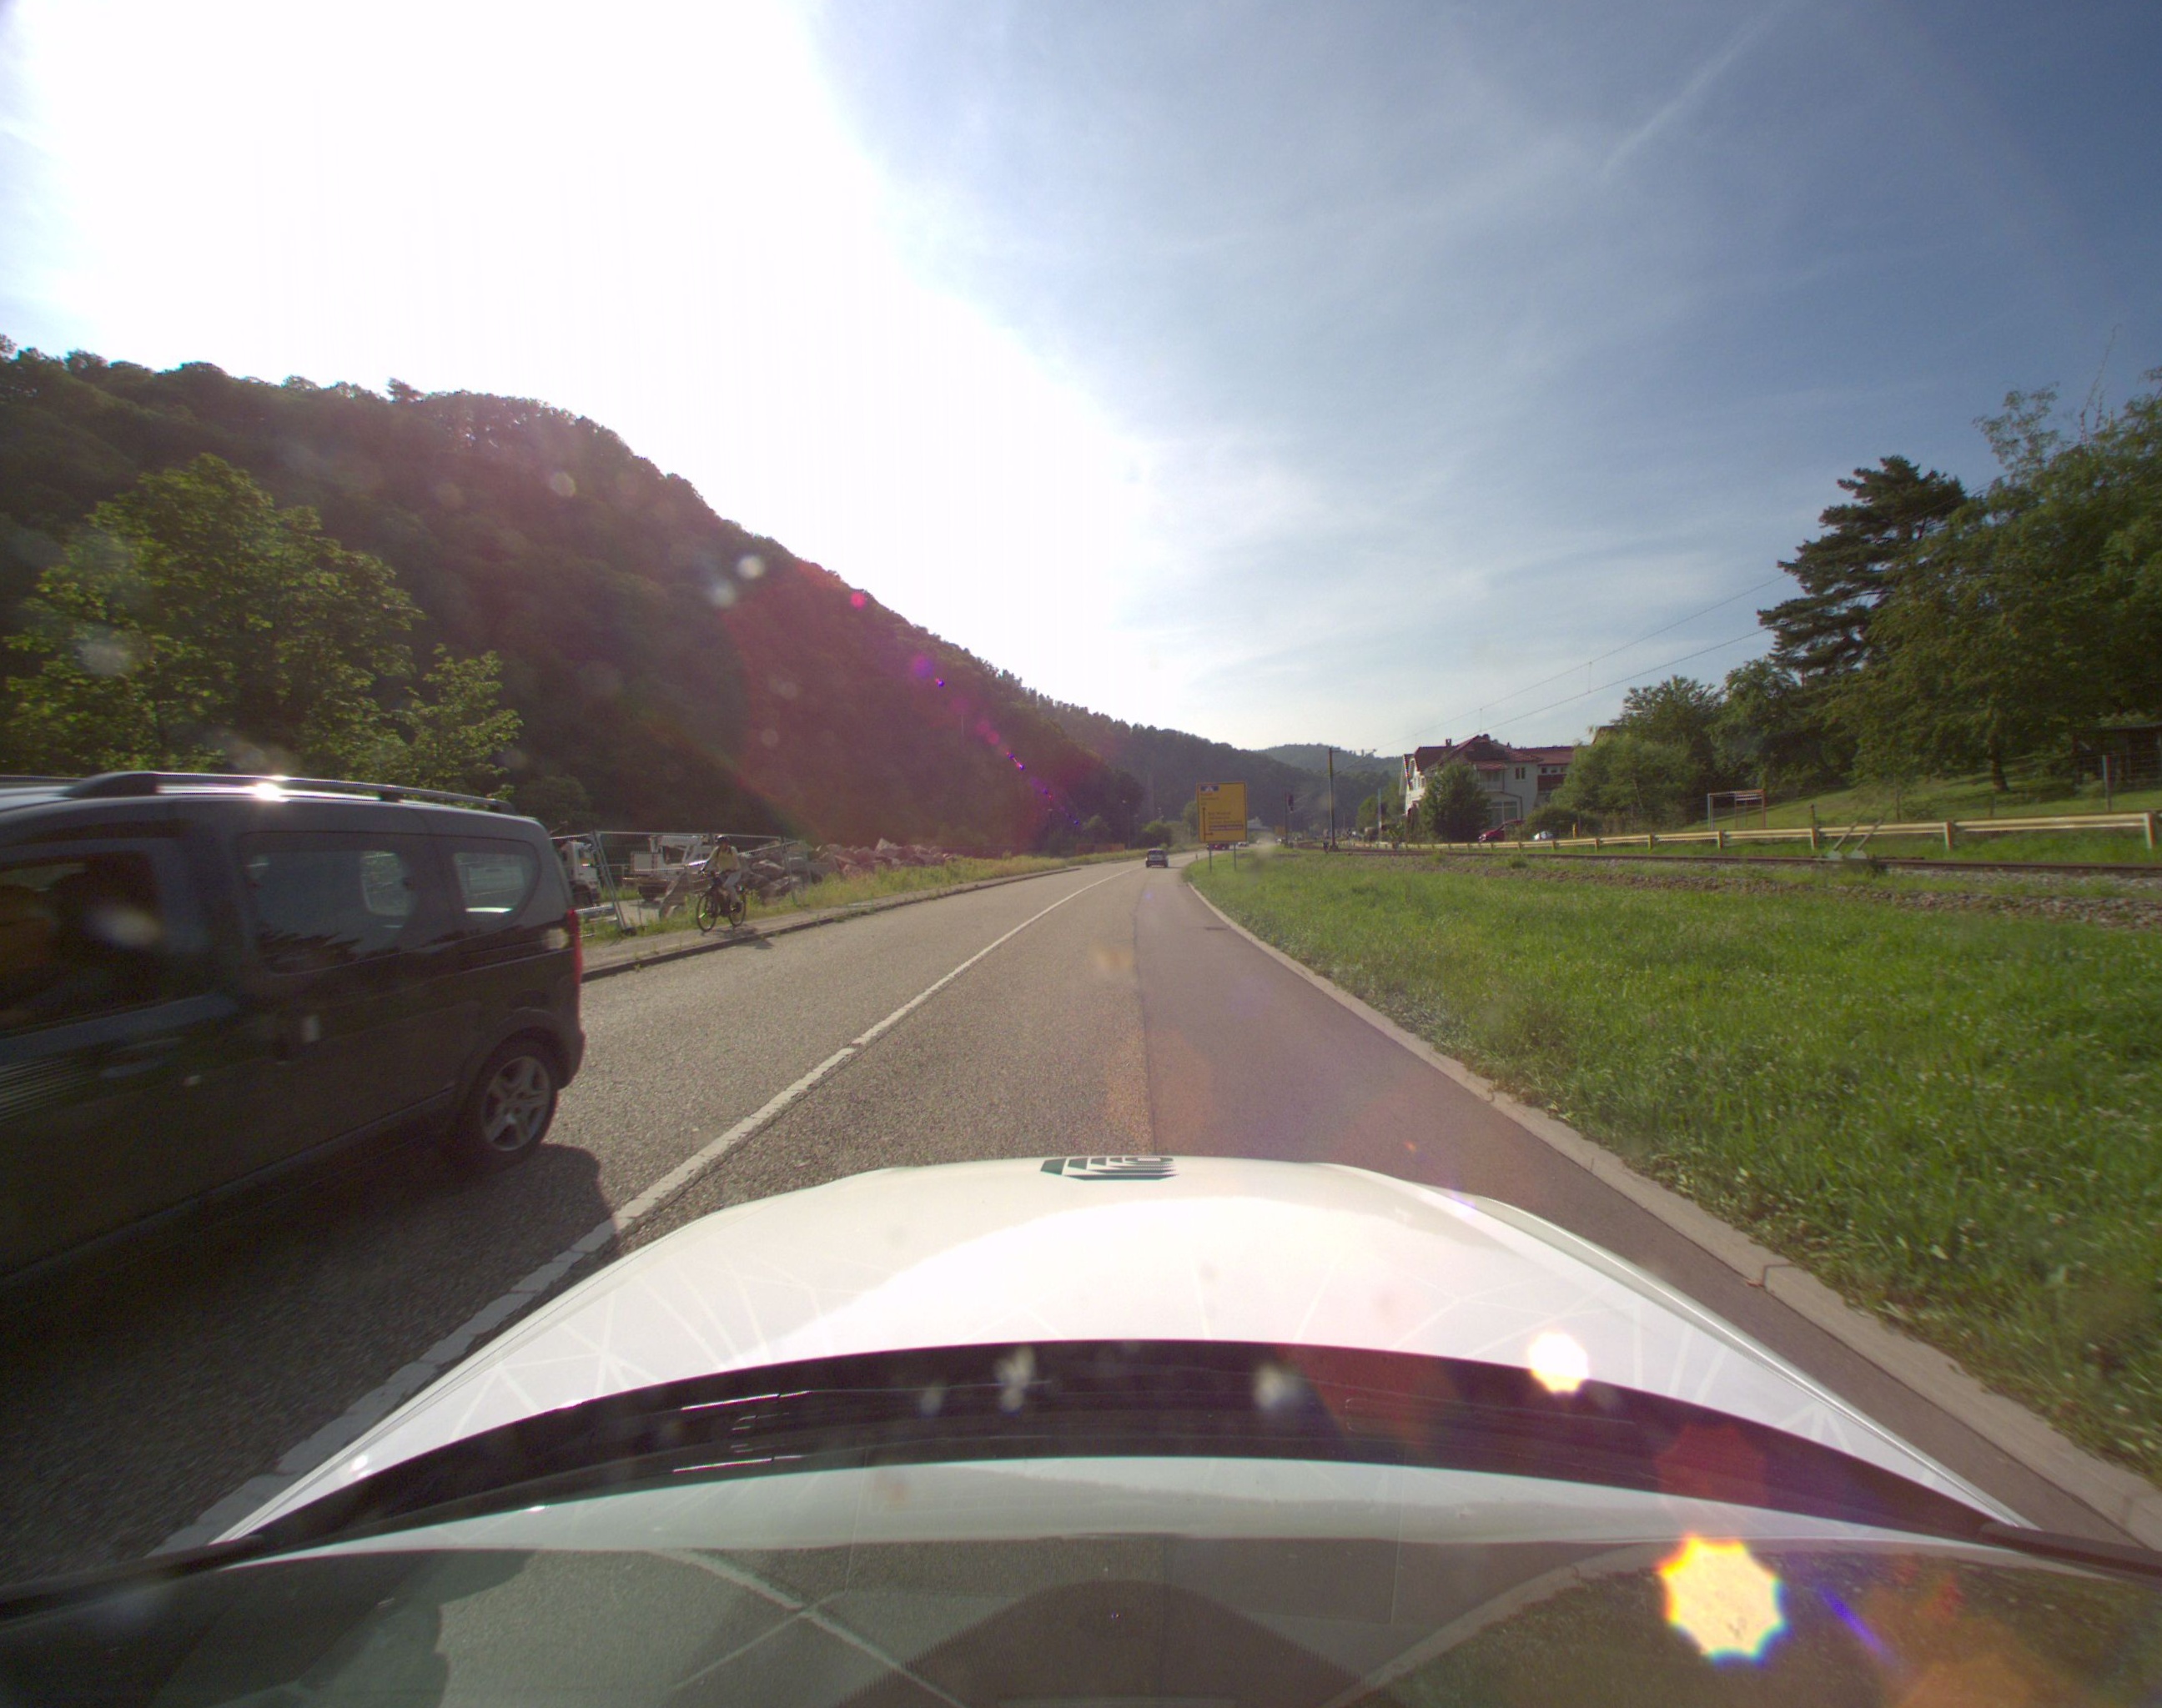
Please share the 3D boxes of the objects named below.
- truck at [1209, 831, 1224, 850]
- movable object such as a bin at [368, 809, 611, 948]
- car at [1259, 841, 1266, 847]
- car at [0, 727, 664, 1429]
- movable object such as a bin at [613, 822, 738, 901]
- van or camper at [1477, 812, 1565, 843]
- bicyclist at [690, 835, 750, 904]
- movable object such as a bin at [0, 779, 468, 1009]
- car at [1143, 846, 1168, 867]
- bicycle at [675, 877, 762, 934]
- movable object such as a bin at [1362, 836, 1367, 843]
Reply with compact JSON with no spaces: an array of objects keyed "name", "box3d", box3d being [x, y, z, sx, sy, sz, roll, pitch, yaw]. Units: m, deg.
[{"name":"truck","box3d":[28.296,-2.731,170.068,2.732,3.835,8.225,0,1,12]},{"name":"movable object such as a bin","box3d":[-19.573,0.710,27.687,2.712,3.947,7.230,-4,0,0]},{"name":"car","box3d":[48.491,-2.662,217.403,1.710,1.624,3.813,0,1,16]},{"name":"car","box3d":[-3.640,0.570,2.780,1.843,1.784,4.687,0,0,2]},{"name":"movable object such as a bin","box3d":[-22.791,0.412,46.357,2.888,3.947,7.809,-4,0,0]},{"name":"van or camper","box3d":[33.093,-1.940,61.417,5.378,1.929,2.129,-4,0,14]},{"name":"bicyclist","box3d":[-6.606,0.281,14.944,0.681,1.225,0.858,-1,0,1]},{"name":"movable object such as a bin","box3d":[-19.615,0.760,19.070,2.690,3.947,9.989,-4,0,0]},{"name":"car","box3d":[6.597,0.193,71.896,1.983,1.723,3.998,-4,0,7]},{"name":"bicycle","box3d":[-6.576,0.903,14.916,0.537,0.881,2.253,0,0,2]},{"name":"movable object such as a bin","box3d":[45.781,-2.379,131.491,0.801,1.050,0.916,0,2,17]}]
